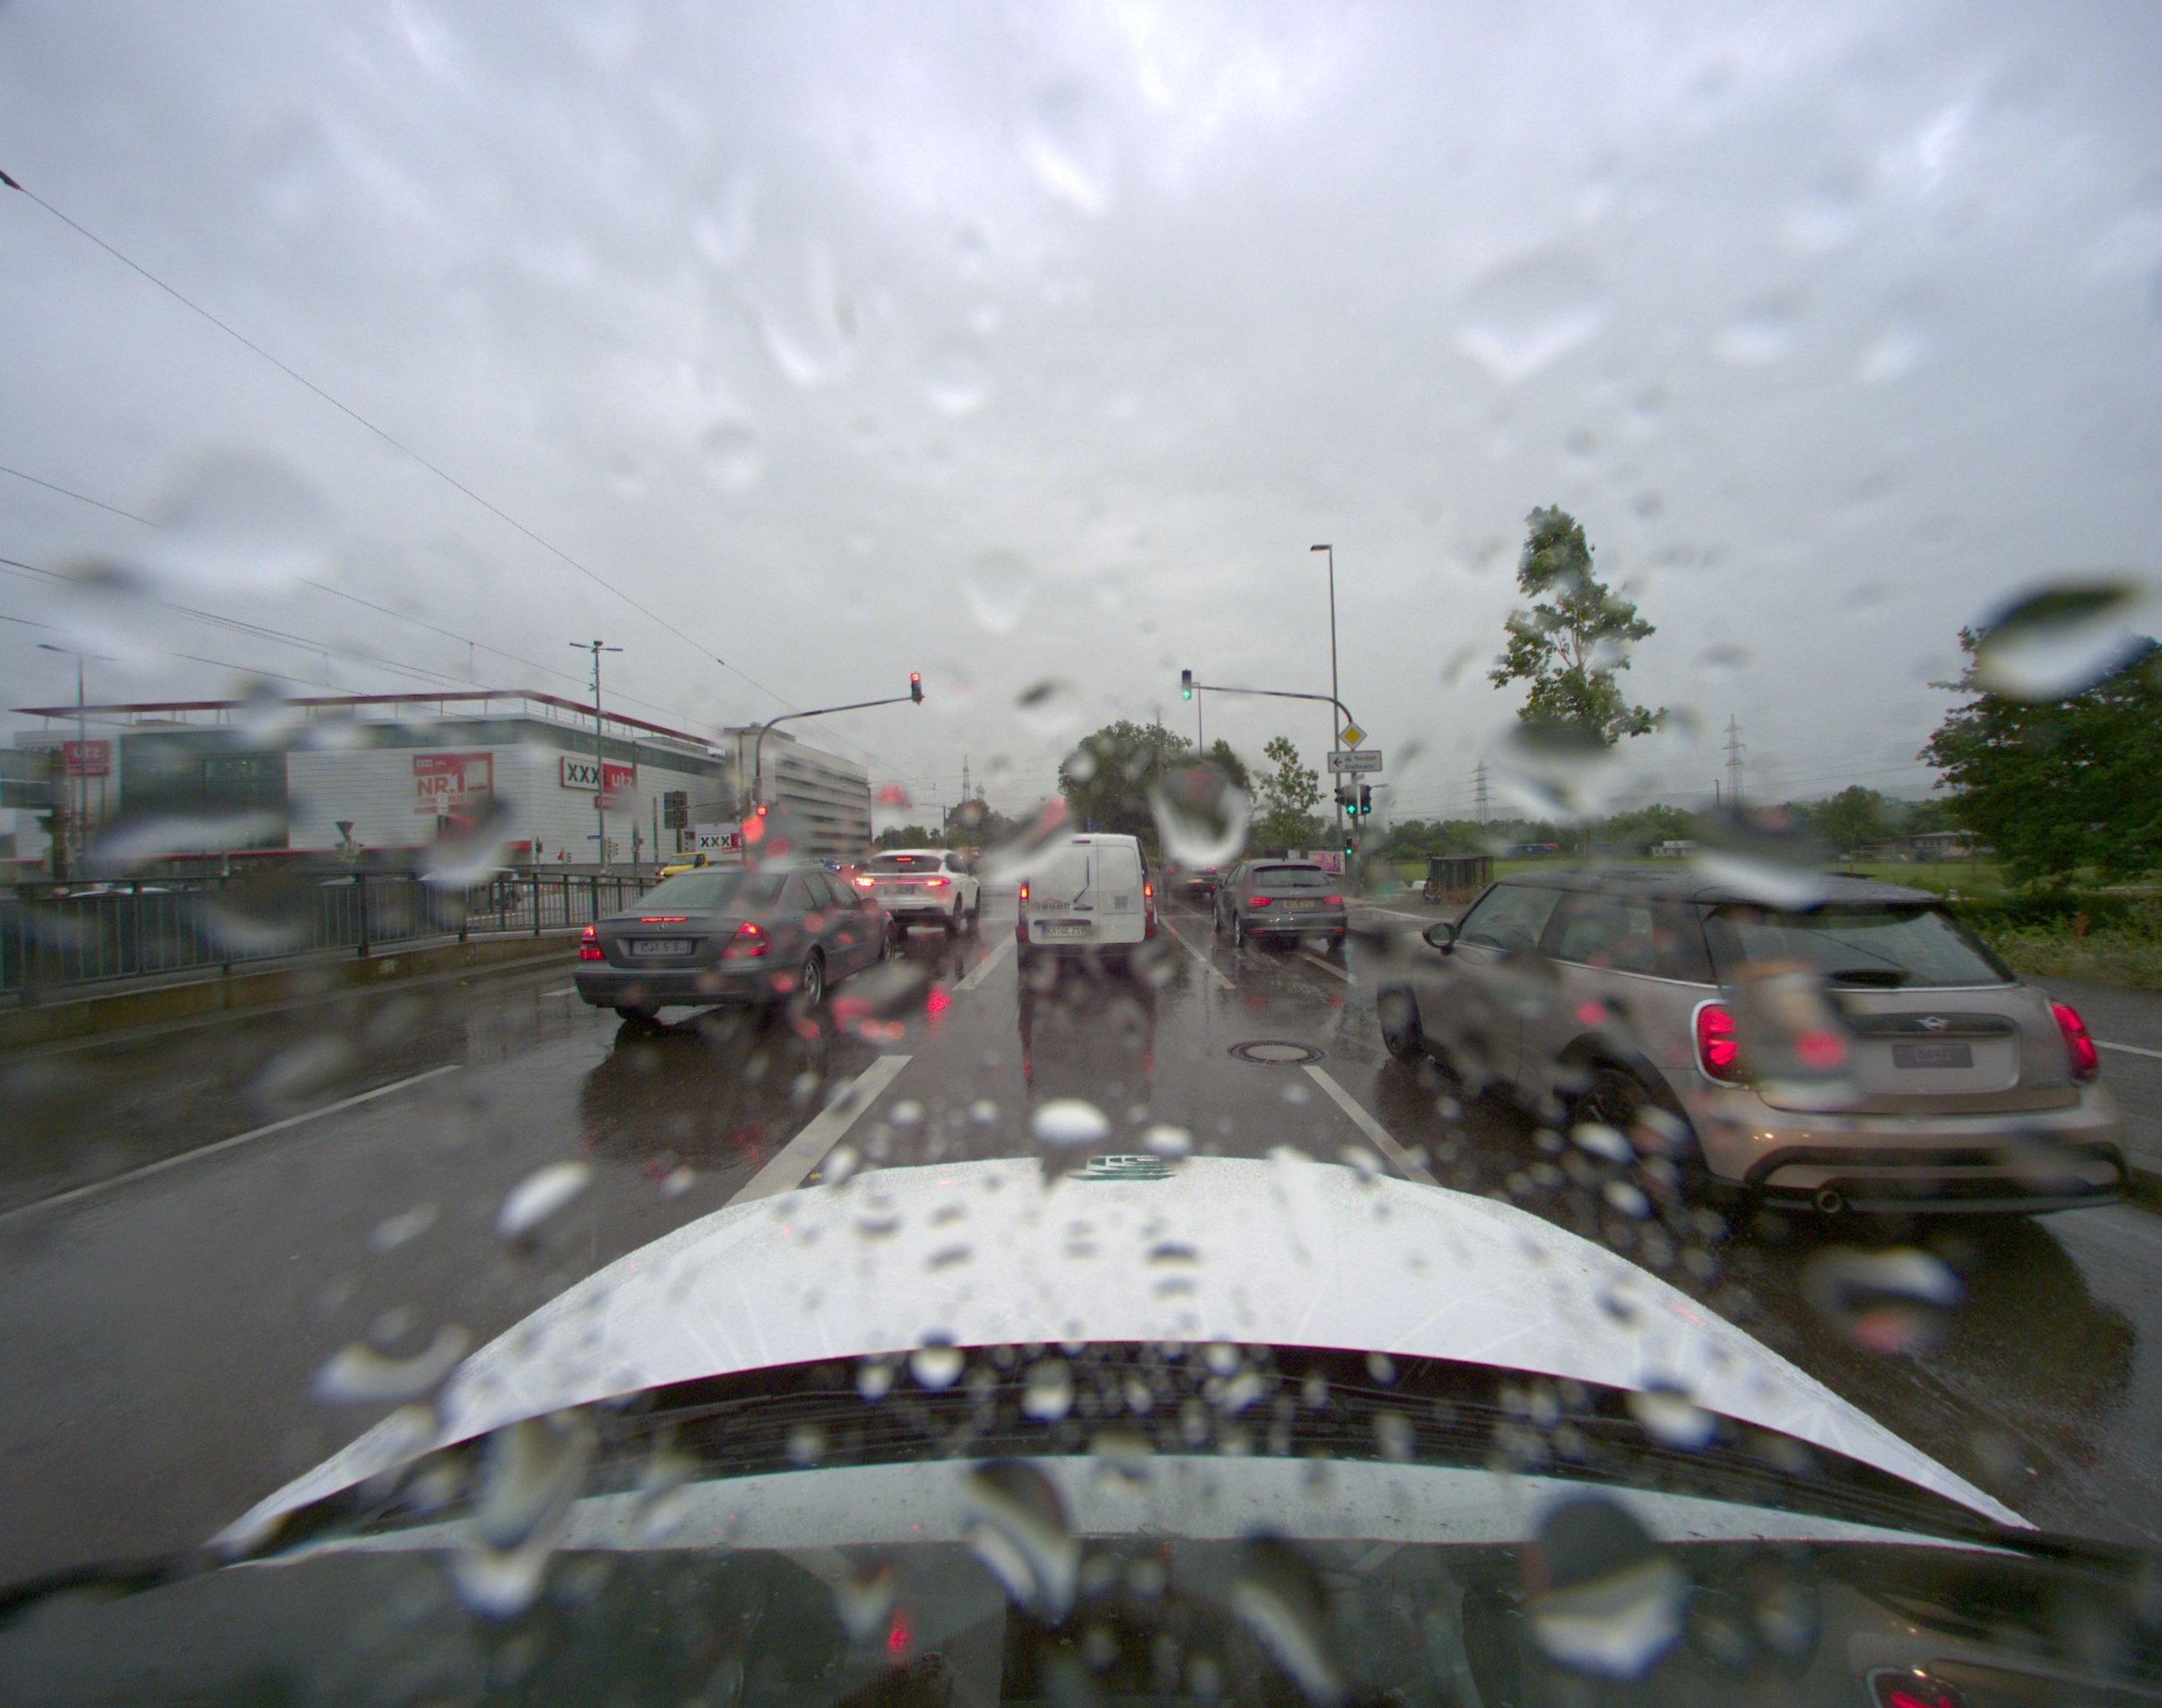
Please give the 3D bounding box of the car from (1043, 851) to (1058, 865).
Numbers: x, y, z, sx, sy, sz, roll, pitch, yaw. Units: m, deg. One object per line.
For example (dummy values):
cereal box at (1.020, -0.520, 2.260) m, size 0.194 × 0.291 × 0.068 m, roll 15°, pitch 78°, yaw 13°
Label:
car at (-4.401, 0.544, 117.601) m, size 1.989 × 1.860 × 3.996 m, roll -2°, pitch 0°, yaw -2°

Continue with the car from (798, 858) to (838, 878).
car at (-22.291, 1.211, 69.117) m, size 1.720 × 1.661 × 3.545 m, roll 0°, pitch -3°, yaw 9°

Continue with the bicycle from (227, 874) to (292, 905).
bicycle at (-28.218, 1.205, 28.003) m, size 0.448 × 0.987 × 1.710 m, roll 0°, pitch -1°, yaw 3°

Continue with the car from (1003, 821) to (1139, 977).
car at (-0.052, 0.536, 11.490) m, size 1.560 × 1.788 × 4.002 m, roll -1°, pitch 0°, yaw 2°

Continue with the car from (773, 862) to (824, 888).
car at (-19.961, 1.461, 57.762) m, size 1.883 × 1.699 × 4.006 m, roll 0°, pitch -1°, yaw 6°

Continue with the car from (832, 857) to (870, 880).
car at (-19.417, 1.238, 68.963) m, size 1.838 × 1.798 × 4.002 m, roll -1°, pitch -2°, yaw 3°

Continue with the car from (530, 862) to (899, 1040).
car at (-3.432, 0.802, 8.800) m, size 1.755 × 1.398 × 4.646 m, roll 0°, pitch -1°, yaw 2°

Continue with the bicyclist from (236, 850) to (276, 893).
bicyclist at (-28.233, 0.603, 27.884) m, size 0.681 × 1.464 × 0.647 m, roll 0°, pitch -1°, yaw 3°

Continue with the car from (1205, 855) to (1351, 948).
car at (3.165, 0.711, 13.734) m, size 1.623 × 1.344 × 3.624 m, roll 0°, pitch 0°, yaw 1°

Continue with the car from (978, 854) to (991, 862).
car at (-19.707, 0.819, 166.776) m, size 1.985 × 1.708 × 4.004 m, roll 0°, pitch -1°, yaw 3°

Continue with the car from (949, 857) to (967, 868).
car at (-17.571, 1.225, 116.492) m, size 1.755 × 1.549 × 3.683 m, roll 0°, pitch -1°, yaw 3°

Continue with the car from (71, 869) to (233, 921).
car at (-37.625, 1.626, 33.078) m, size 4.298 × 2.014 × 2.001 m, roll 0°, pitch -1°, yaw 1°

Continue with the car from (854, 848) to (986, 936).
car at (-3.053, 0.646, 16.328) m, size 1.723 × 1.535 × 4.298 m, roll 0°, pitch 0°, yaw 1°

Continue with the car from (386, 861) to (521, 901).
car at (-22.441, 0.942, 29.315) m, size 1.579 × 1.336 × 3.837 m, roll 0°, pitch -1°, yaw 6°

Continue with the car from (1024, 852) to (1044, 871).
car at (-4.945, 0.788, 85.679) m, size 1.990 × 1.860 × 3.993 m, roll 0°, pitch -1°, yaw -5°

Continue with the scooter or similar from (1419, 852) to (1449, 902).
scooter or similar at (8.439, 0.544, 19.503) m, size 0.244 × 1.158 × 1.187 m, roll 0°, pitch -1°, yaw 3°

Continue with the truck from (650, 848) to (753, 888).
truck at (-23.513, 0.846, 50.938) m, size 2.341 × 2.279 × 7.642 m, roll 0°, pitch 0°, yaw 4°

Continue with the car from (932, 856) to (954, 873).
car at (-17.681, 1.337, 104.602) m, size 1.985 × 2.014 × 4.004 m, roll 0°, pitch -1°, yaw 3°

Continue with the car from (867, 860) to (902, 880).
car at (-18.543, 1.461, 76.979) m, size 1.919 × 1.827 × 4.007 m, roll 0°, pitch -1°, yaw 6°

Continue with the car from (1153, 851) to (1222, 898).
car at (3.481, 0.615, 27.170) m, size 1.853 × 1.428 × 3.808 m, roll 0°, pitch 0°, yaw 1°

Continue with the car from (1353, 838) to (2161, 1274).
car at (2.995, 0.706, 4.663) m, size 1.707 × 1.508 × 3.624 m, roll 0°, pitch 0°, yaw 1°

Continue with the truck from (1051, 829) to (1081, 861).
truck at (-1.405, -0.739, 75.281) m, size 2.625 × 2.816 × 7.142 m, roll -1°, pitch -1°, yaw -1°

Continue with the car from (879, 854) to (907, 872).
car at (-21.663, 1.081, 94.100) m, size 1.984 × 2.014 × 4.005 m, roll 0°, pitch -1°, yaw 4°
